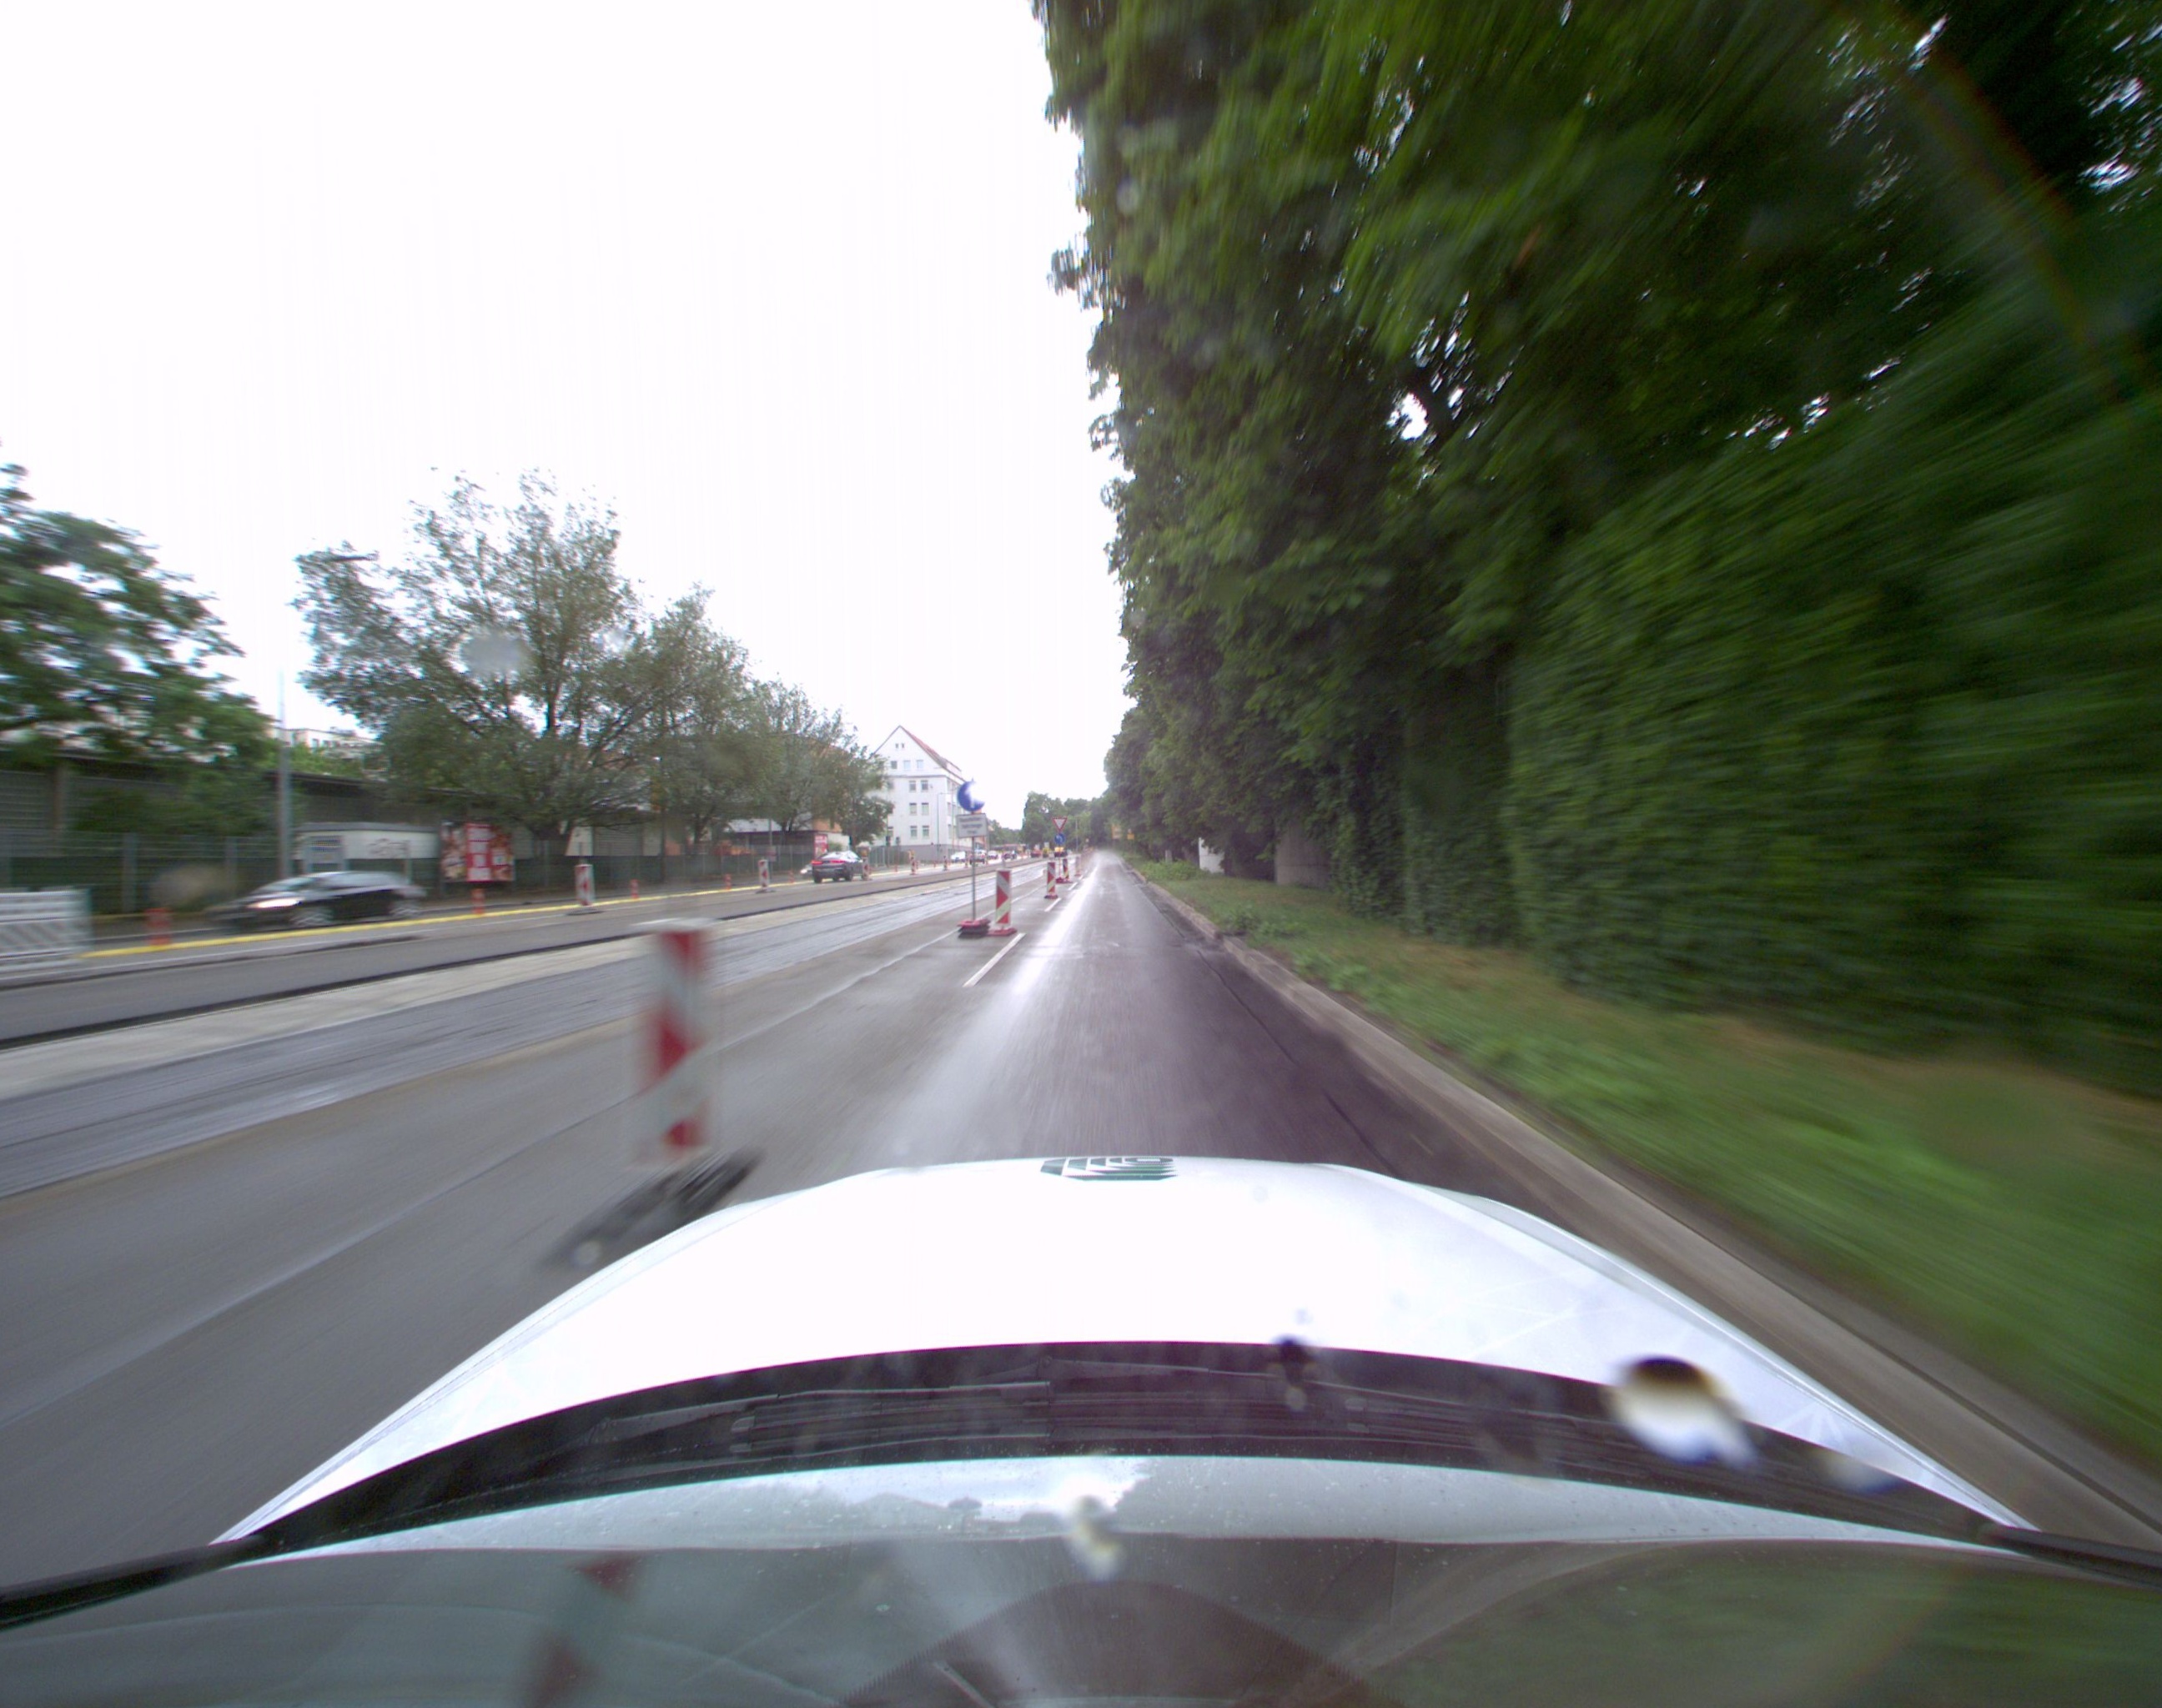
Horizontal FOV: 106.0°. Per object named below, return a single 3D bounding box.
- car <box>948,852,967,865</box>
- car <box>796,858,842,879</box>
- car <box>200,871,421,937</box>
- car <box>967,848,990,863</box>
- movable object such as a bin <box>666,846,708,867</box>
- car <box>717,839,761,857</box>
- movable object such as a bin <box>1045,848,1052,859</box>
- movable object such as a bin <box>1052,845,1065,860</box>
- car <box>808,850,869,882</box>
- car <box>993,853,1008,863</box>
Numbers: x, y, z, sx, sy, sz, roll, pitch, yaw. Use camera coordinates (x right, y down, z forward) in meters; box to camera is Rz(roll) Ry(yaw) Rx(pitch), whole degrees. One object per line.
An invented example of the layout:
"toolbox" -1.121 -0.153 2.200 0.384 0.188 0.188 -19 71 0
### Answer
"car" -18.041 0.601 119.047 1.852 1.706 4.367 -4 0 2
"car" -18.840 1.027 58.817 1.660 1.315 4.457 -4 0 2
"car" -19.998 1.232 21.439 1.700 1.382 4.171 -2 0 2
"car" -11.892 0.210 94.710 1.885 1.650 4.398 -1 0 2
"movable object such as a bin" -31.542 0.217 65.116 3.973 1.527 1.764 -1 0 44
"car" -31.384 -0.525 74.675 3.971 1.527 2.013 -1 0 40
"movable object such as a bin" -5.306 -0.093 132.841 1.079 1.644 2.439 -2 0 1
"movable object such as a bin" -3.853 -0.278 141.056 1.895 2.609 5.385 -2 1 1
"car" -13.362 0.644 45.199 1.885 1.650 4.398 -1 0 2
"car" -13.044 0.579 131.953 1.852 1.475 3.734 -4 0 2
